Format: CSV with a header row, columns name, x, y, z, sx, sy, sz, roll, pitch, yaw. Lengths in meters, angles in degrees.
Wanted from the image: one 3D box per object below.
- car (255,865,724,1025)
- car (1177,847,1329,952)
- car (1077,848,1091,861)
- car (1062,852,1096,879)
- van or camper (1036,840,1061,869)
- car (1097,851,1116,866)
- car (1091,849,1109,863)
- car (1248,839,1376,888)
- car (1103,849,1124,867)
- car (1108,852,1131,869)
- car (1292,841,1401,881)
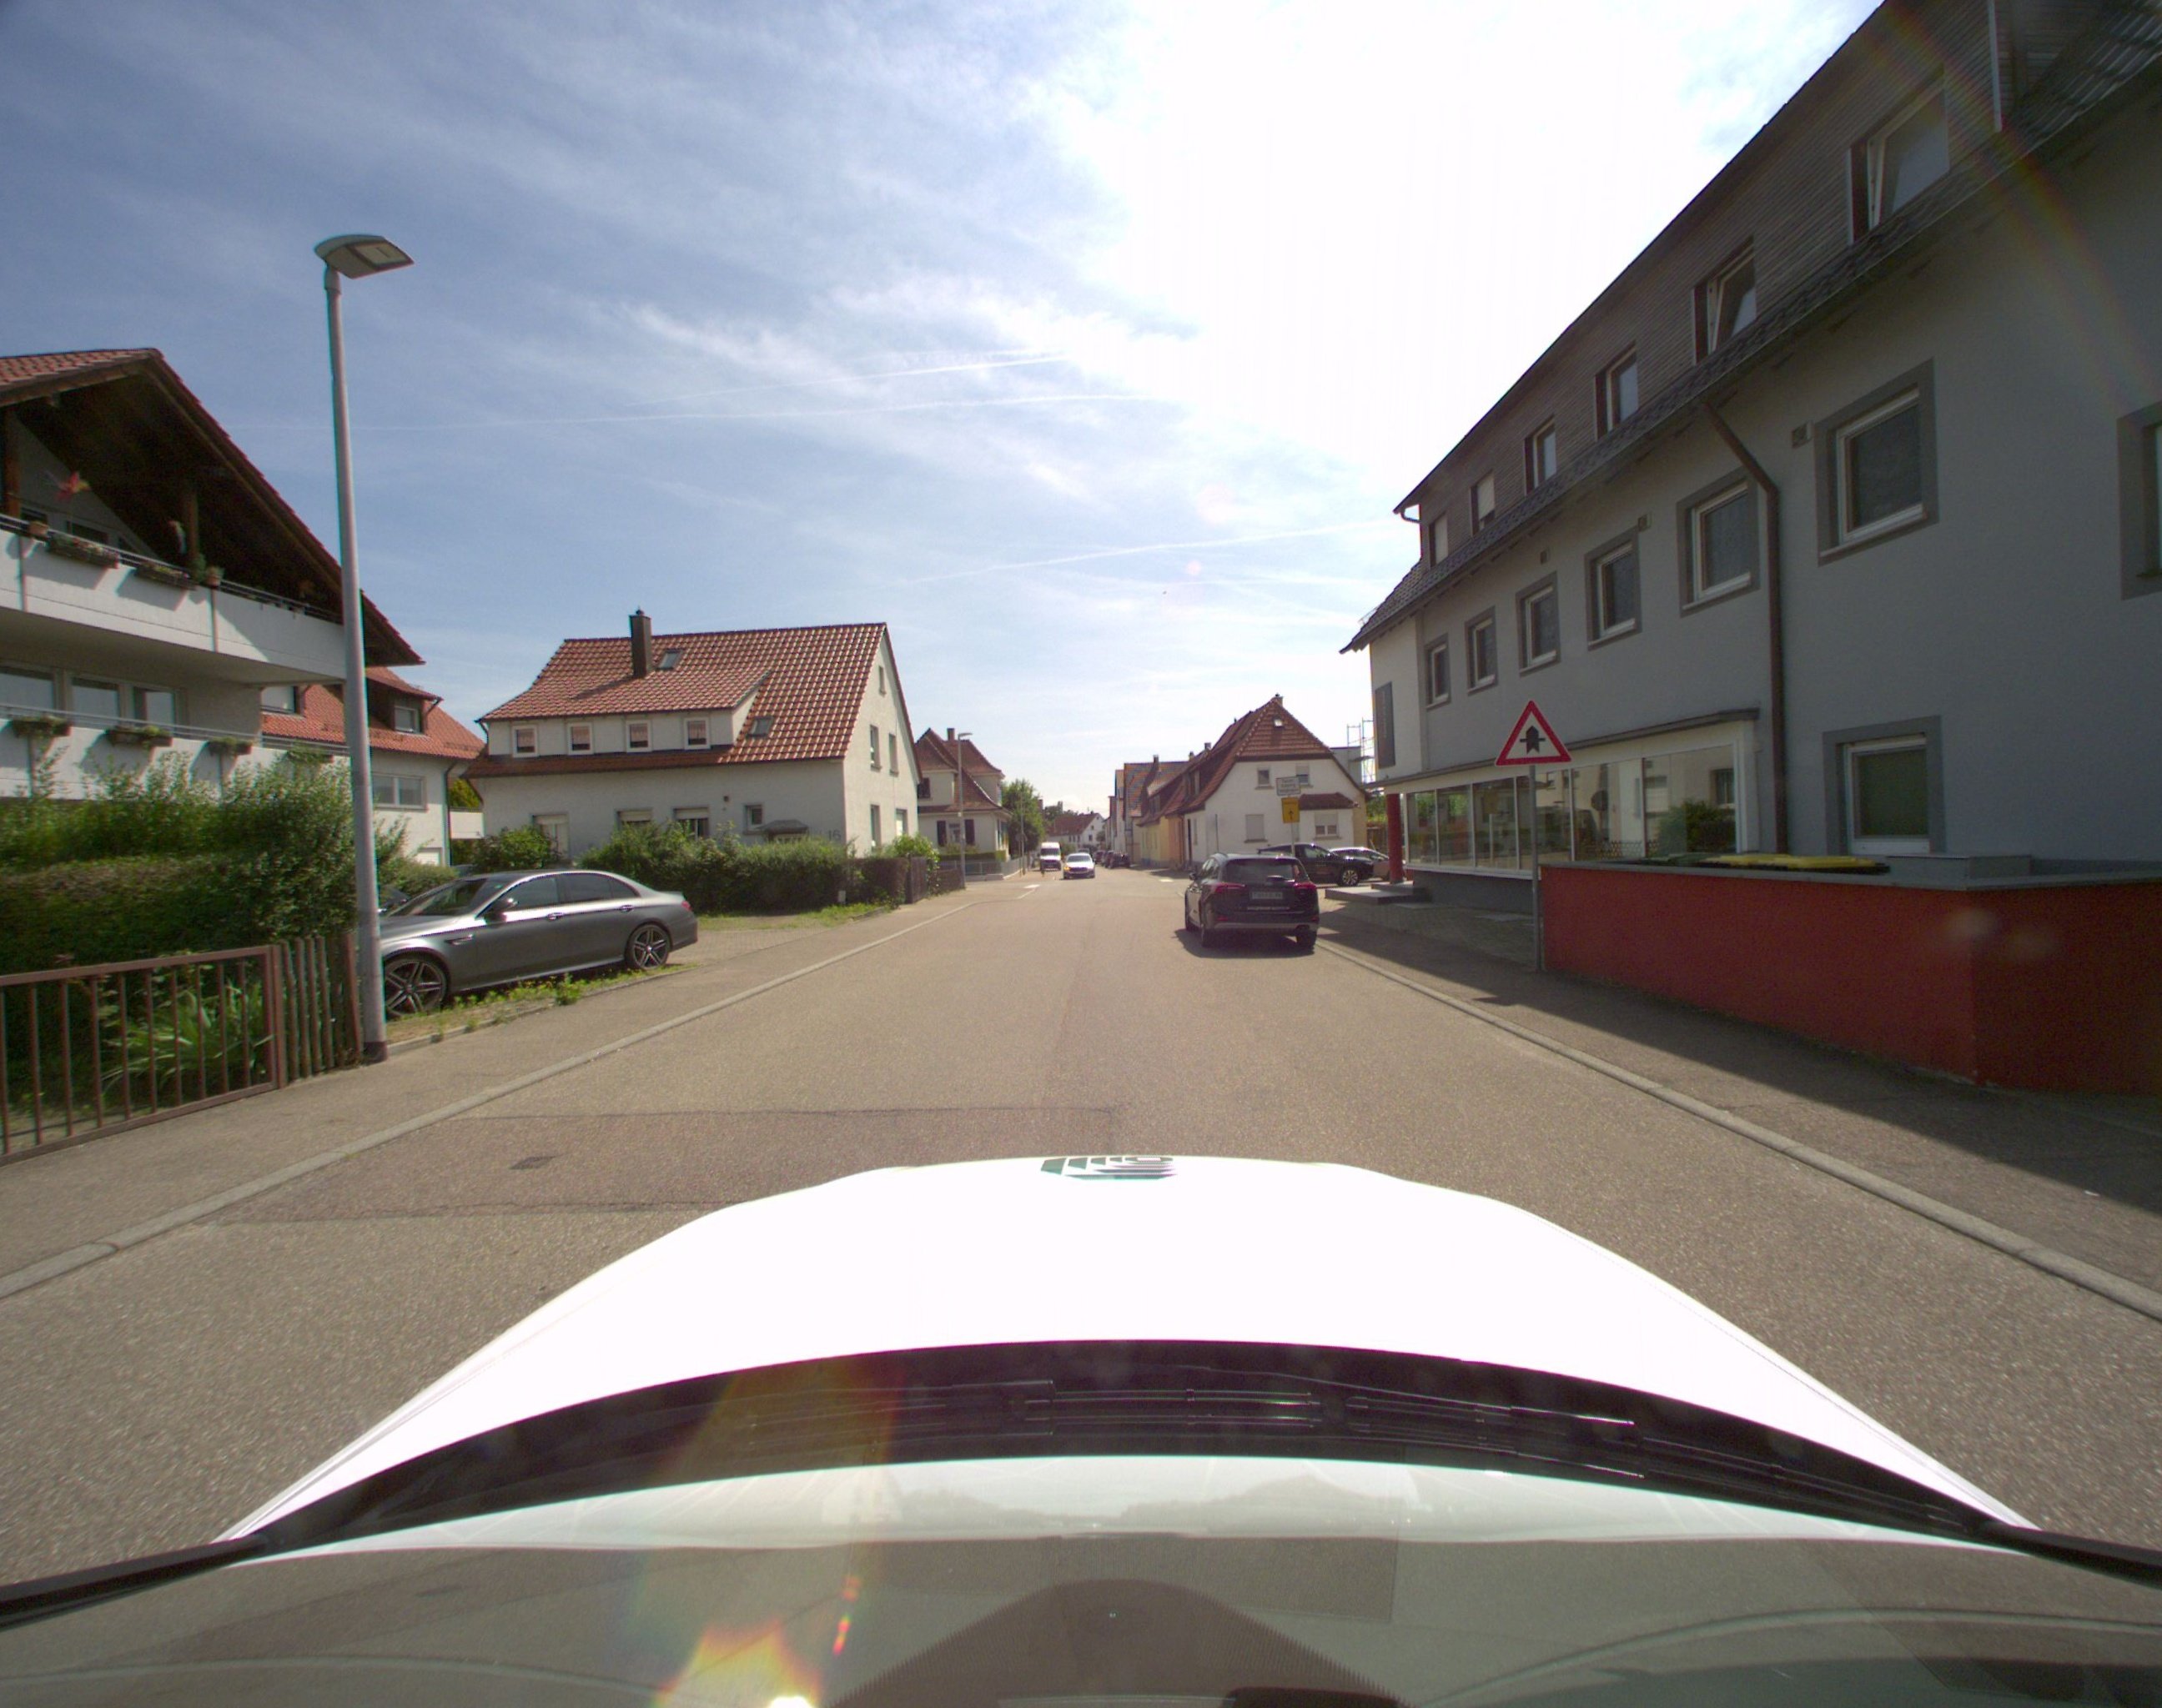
name,x,y,z,sx,sy,sz,roll,pitch,yaw
car,-6.963,0.939,10.347,1.812,1.432,4.584,-2,0,18
car,2.785,0.658,14.153,1.755,1.527,4.406,-1,0,1
car,0.504,0.067,149.136,2.119,2.158,4.742,-3,0,5
car,-0.074,0.643,47.741,1.746,1.438,4.590,-2,0,2
van or camper,-3.035,0.045,76.486,2.179,2.571,6.802,-1,0,-2
car,2.765,0.456,88.890,1.670,1.559,3.036,-2,0,-4
car,2.373,0.299,103.878,1.872,1.700,4.178,-2,0,-3
car,8.412,0.336,29.981,4.271,1.653,1.851,-2,0,6
car,3.053,0.385,76.961,1.723,1.599,4.251,-2,0,-1
car,3.340,0.549,71.192,1.607,1.431,3.749,-2,0,-3
car,10.941,0.285,33.764,3.969,1.504,1.696,-2,0,4
